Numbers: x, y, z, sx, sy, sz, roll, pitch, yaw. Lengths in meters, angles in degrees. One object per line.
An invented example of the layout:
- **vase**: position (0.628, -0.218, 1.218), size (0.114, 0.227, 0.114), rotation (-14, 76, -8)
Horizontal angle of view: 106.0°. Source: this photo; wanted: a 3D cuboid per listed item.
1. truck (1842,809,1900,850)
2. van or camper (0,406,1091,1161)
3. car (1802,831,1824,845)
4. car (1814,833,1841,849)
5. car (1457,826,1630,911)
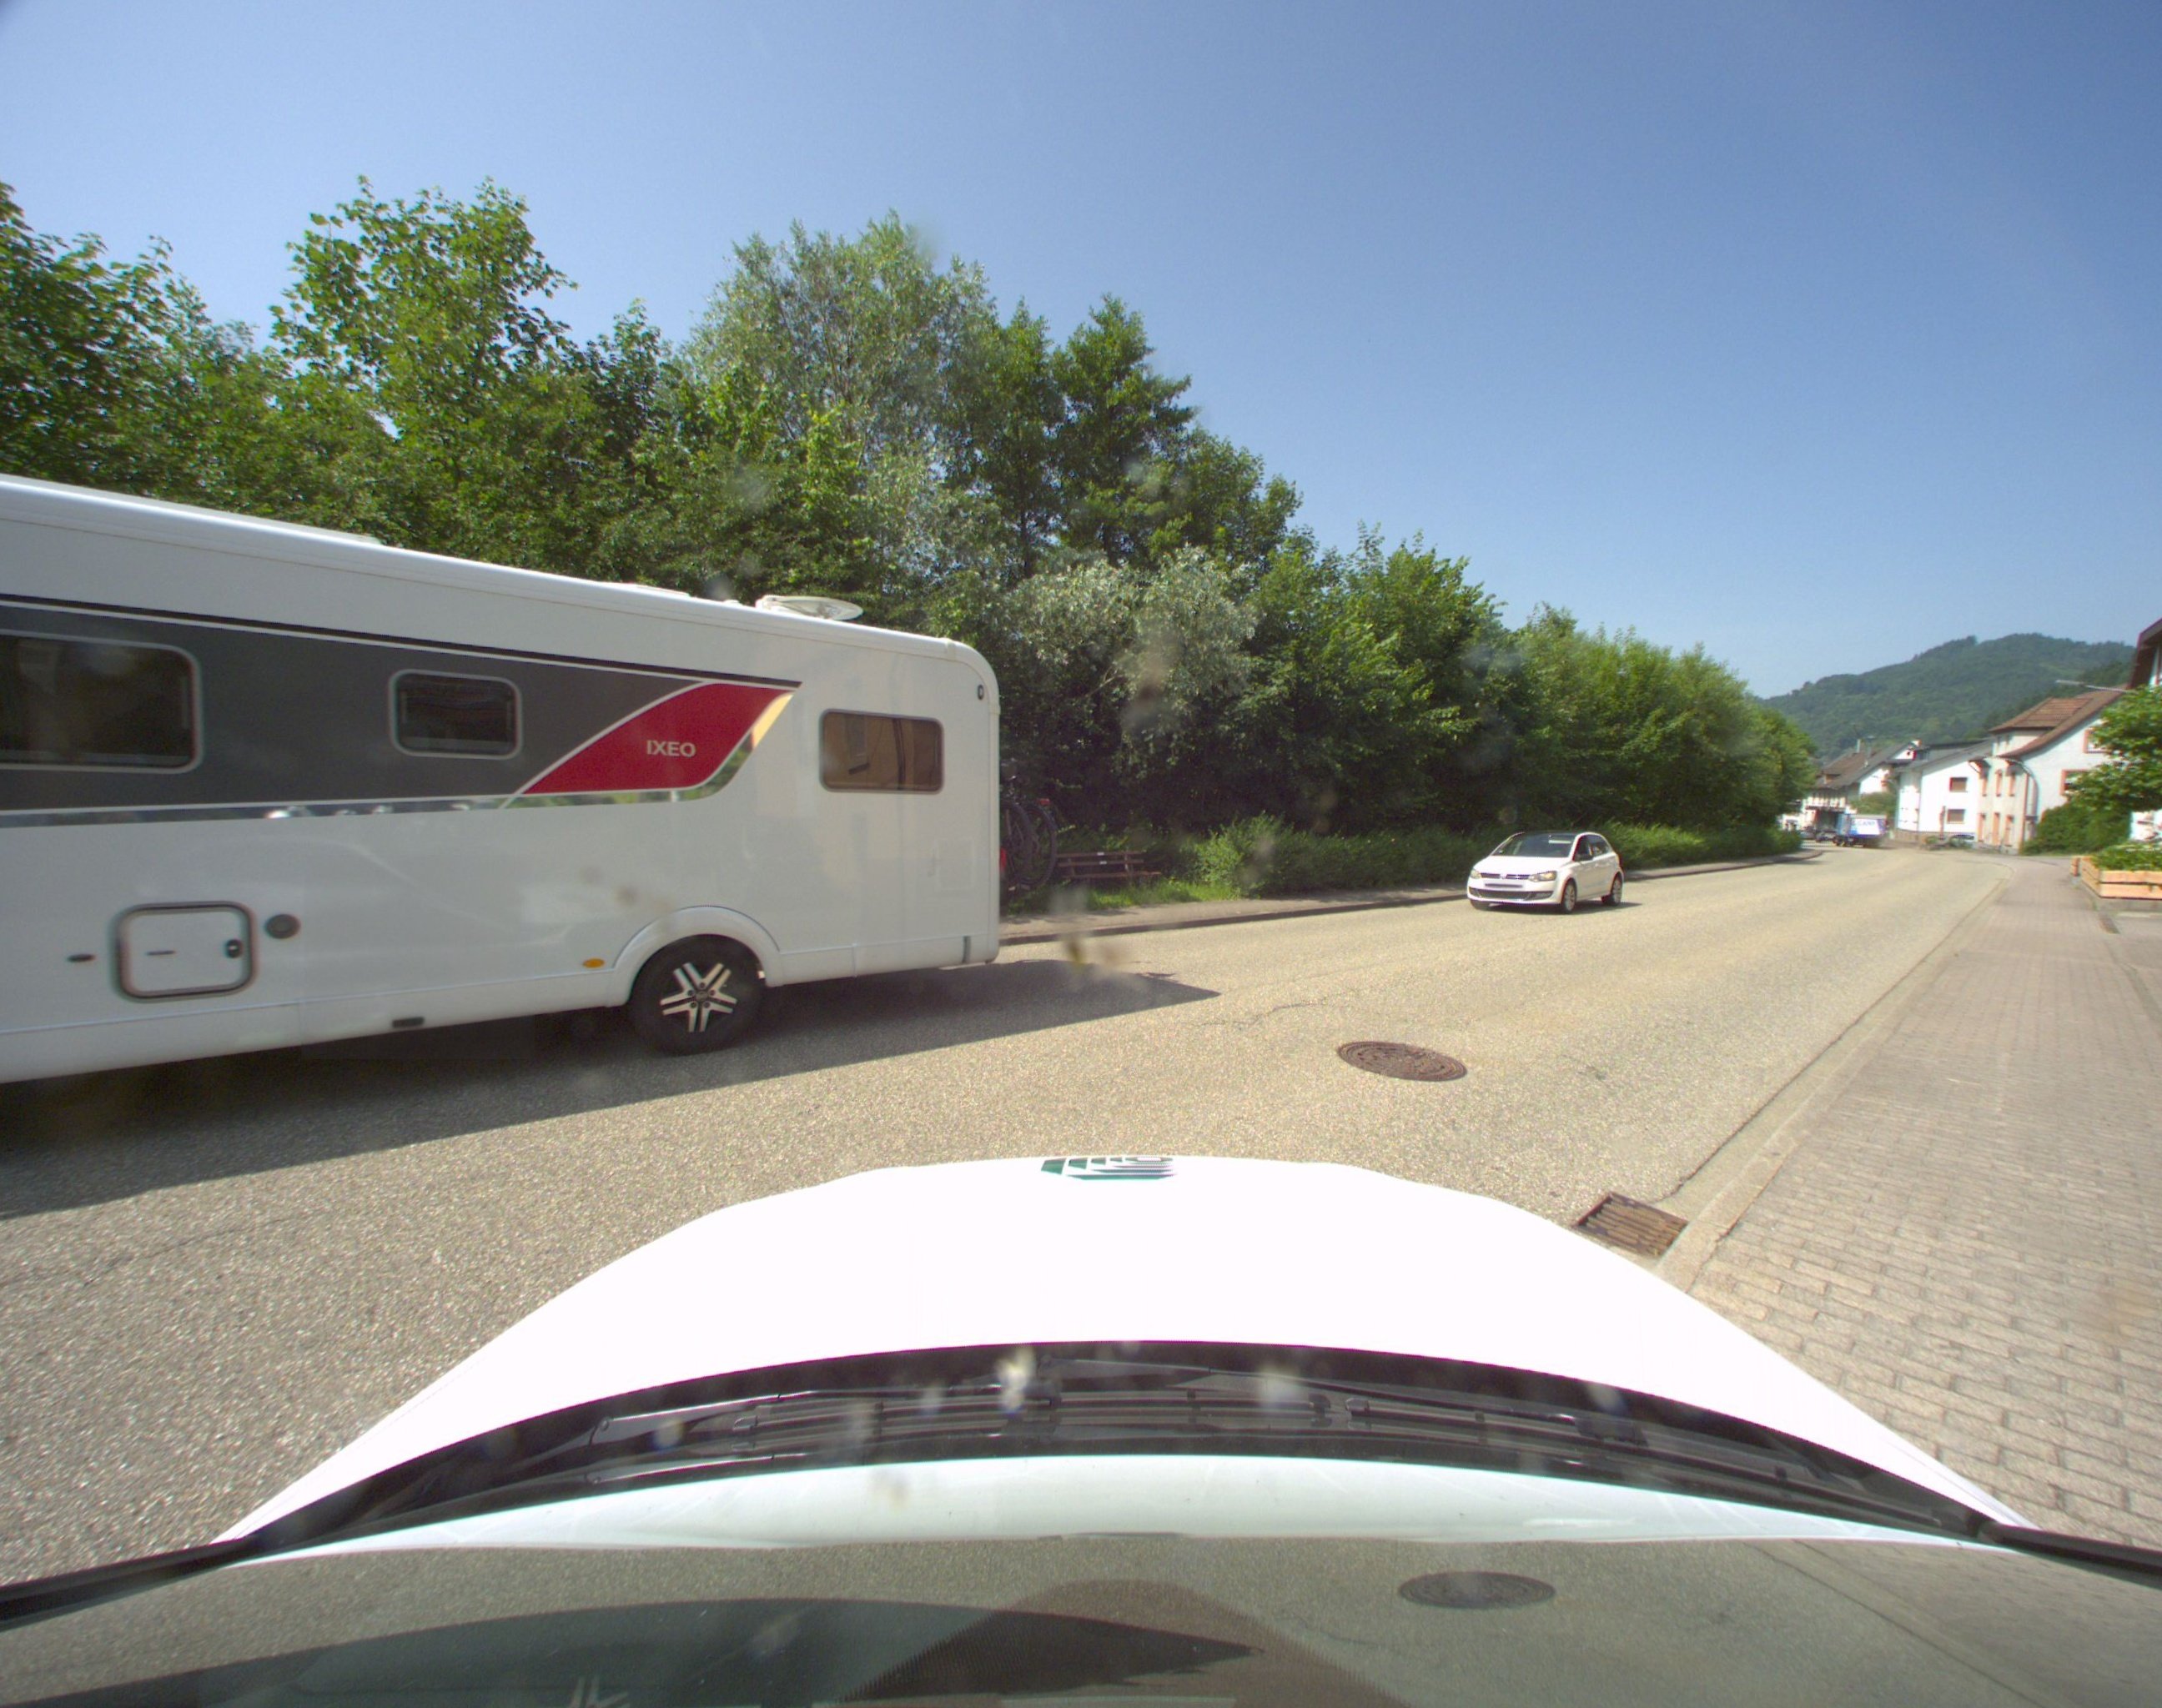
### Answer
- **truck**: position (78.970, -2.330, 81.544), size (3.330, 3.782, 8.493), rotation (-1, -1, 39)
- **van or camper**: position (-3.784, -0.323, 5.068), size (8.092, 2.952, 2.339), rotation (-1, 2, -39)
- **car**: position (102.958, -2.279, 114.559), size (1.974, 1.882, 4.025), rotation (-1, -1, 37)
- **car**: position (93.057, -1.563, 101.576), size (1.974, 1.882, 4.025), rotation (-1, -1, 35)
- **car**: position (8.761, 0.234, 15.307), size (3.847, 1.405, 1.591), rotation (0, 1, -40)
